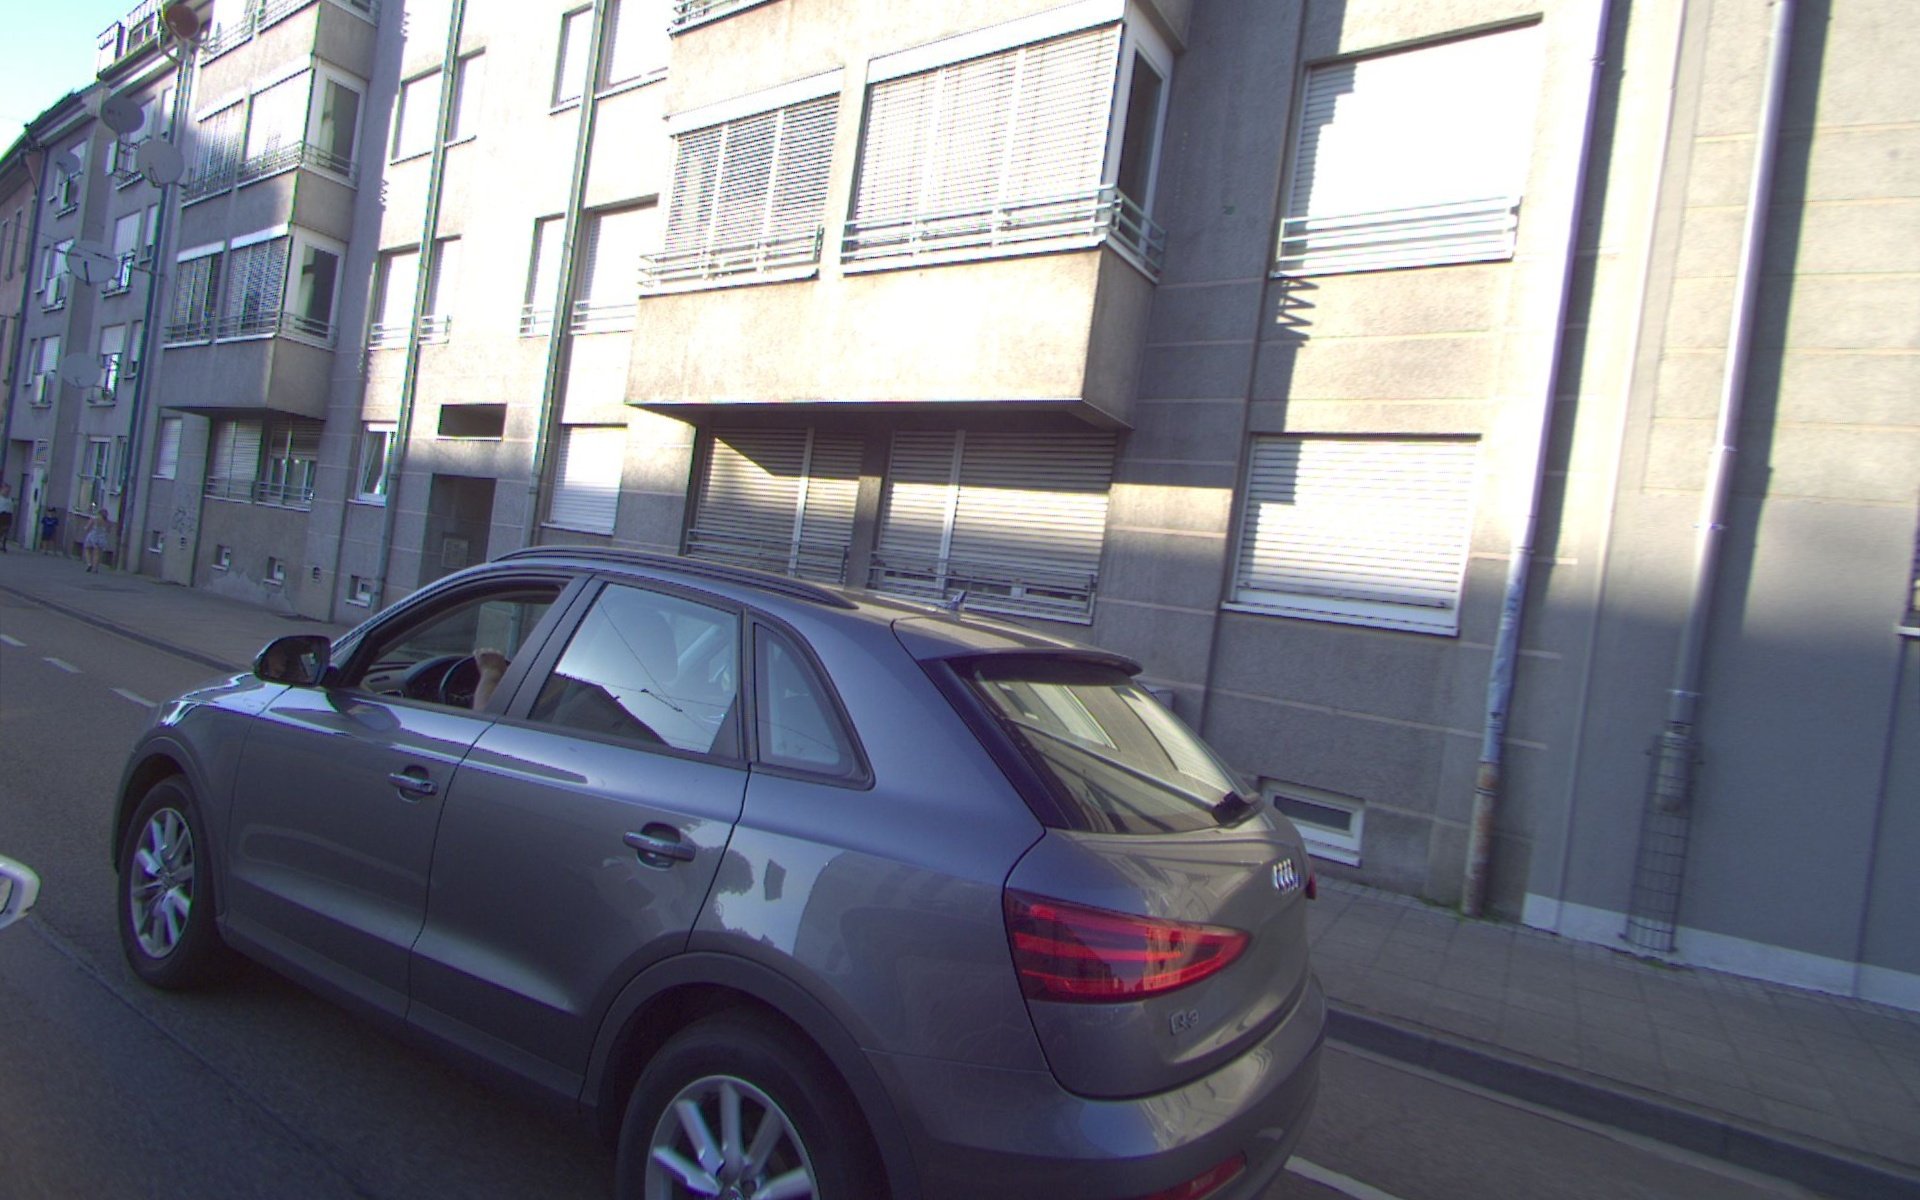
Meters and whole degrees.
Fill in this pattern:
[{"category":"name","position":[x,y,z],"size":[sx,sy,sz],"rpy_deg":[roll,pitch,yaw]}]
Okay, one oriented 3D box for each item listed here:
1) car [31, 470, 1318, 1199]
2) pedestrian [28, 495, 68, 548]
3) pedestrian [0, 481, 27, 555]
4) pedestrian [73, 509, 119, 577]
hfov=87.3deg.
[{"category":"car","position":[-1.154,0.637,3.366],"size":[4.000,1.606,1.769],"rpy_deg":[8,0,32]},{"category":"pedestrian","position":[-23.749,-2.047,26.205],"size":[0.576,1.267,0.587],"rpy_deg":[8,1,38]},{"category":"pedestrian","position":[-24.353,-2.112,25.451],"size":[0.981,1.794,0.829],"rpy_deg":[8,1,38]},{"category":"pedestrian","position":[-18.410,-1.210,21.431],"size":[0.599,1.361,0.514],"rpy_deg":[7,1,34]}]
